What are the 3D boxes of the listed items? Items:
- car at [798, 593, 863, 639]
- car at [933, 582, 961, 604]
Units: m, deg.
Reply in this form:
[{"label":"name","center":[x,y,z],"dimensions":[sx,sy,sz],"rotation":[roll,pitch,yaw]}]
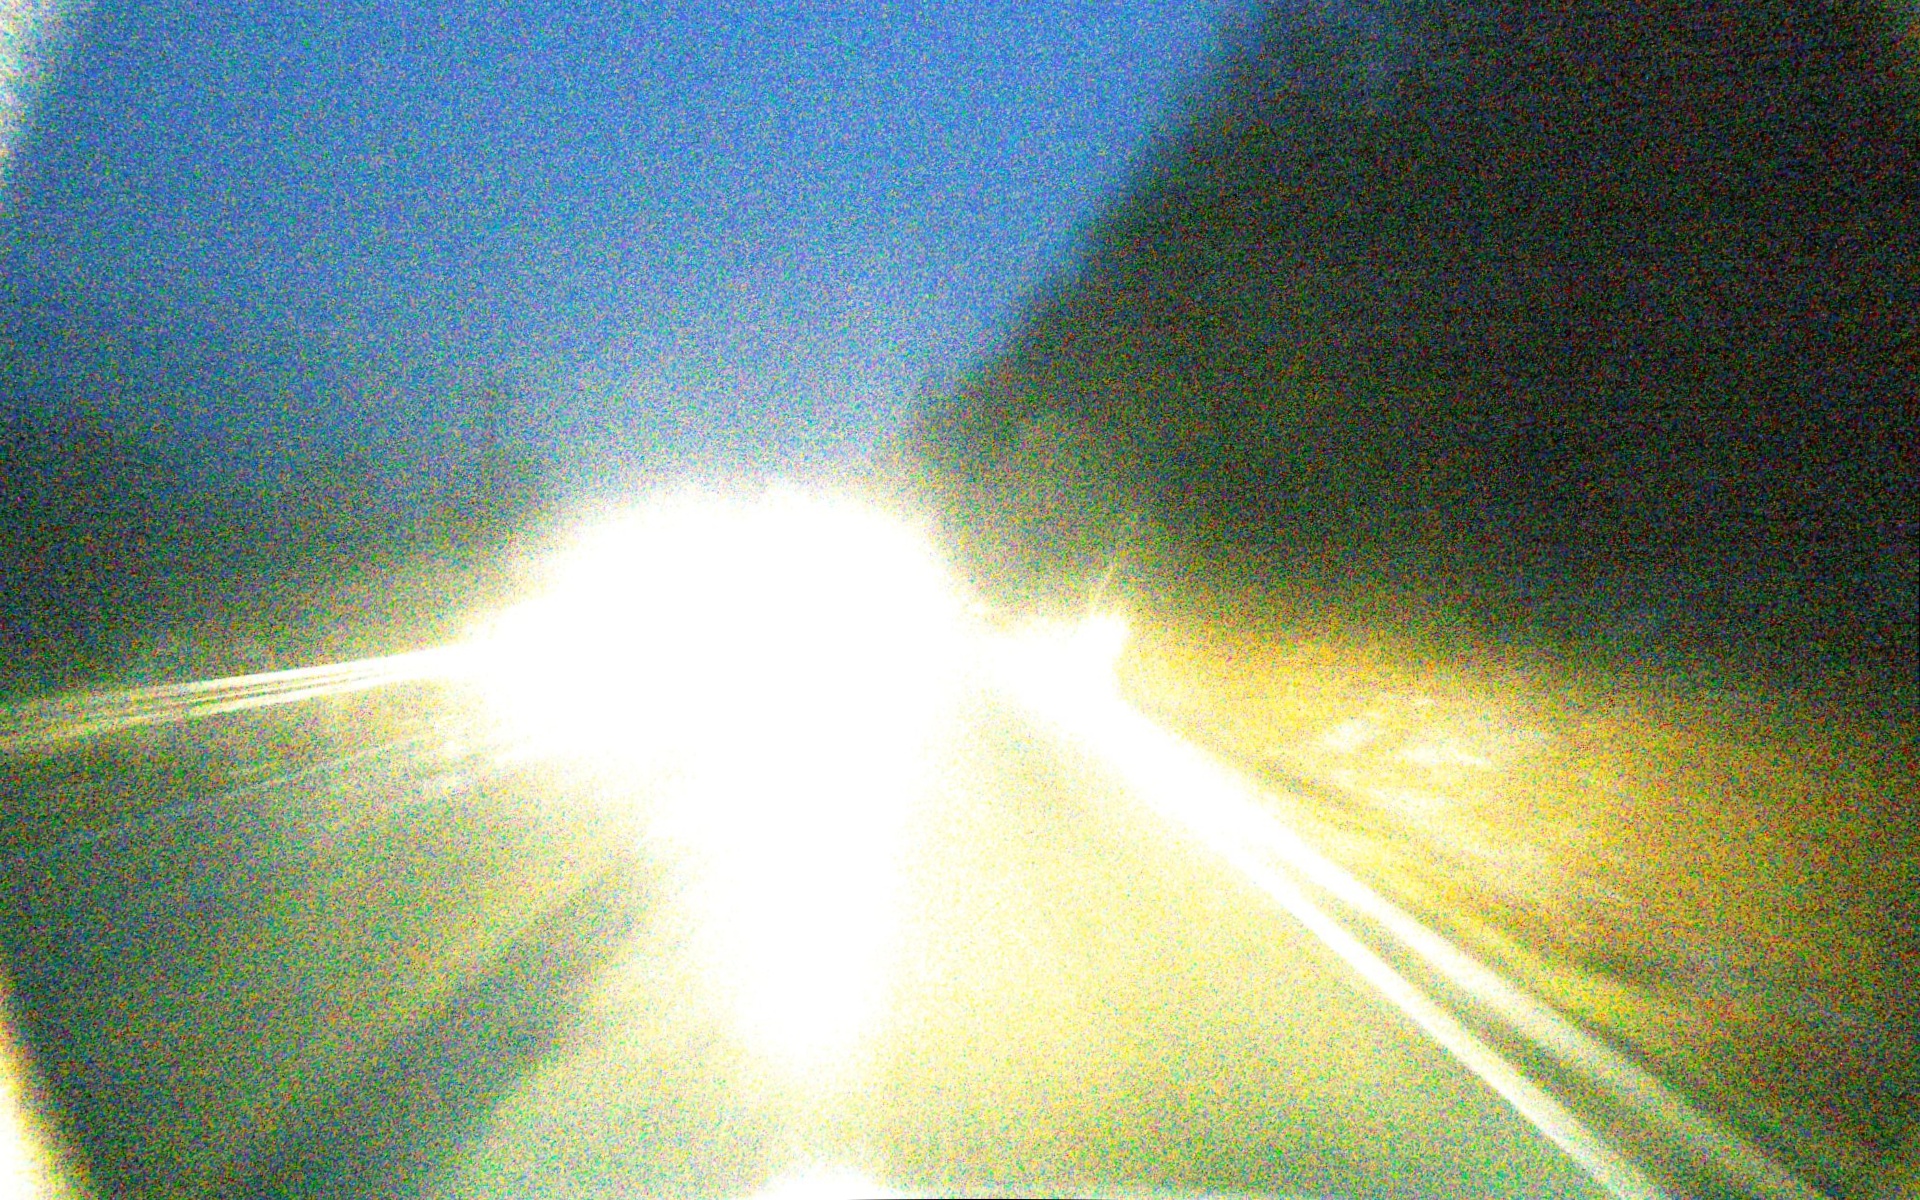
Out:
[{"label":"car","center":[-4.428,0.513,56.978],"dimensions":[1.953,1.473,4.428],"rotation":[1,0,-1]},{"label":"car","center":[-0.958,-0.516,125.748],"dimensions":[1.952,1.646,4.001],"rotation":[1,0,2]}]
